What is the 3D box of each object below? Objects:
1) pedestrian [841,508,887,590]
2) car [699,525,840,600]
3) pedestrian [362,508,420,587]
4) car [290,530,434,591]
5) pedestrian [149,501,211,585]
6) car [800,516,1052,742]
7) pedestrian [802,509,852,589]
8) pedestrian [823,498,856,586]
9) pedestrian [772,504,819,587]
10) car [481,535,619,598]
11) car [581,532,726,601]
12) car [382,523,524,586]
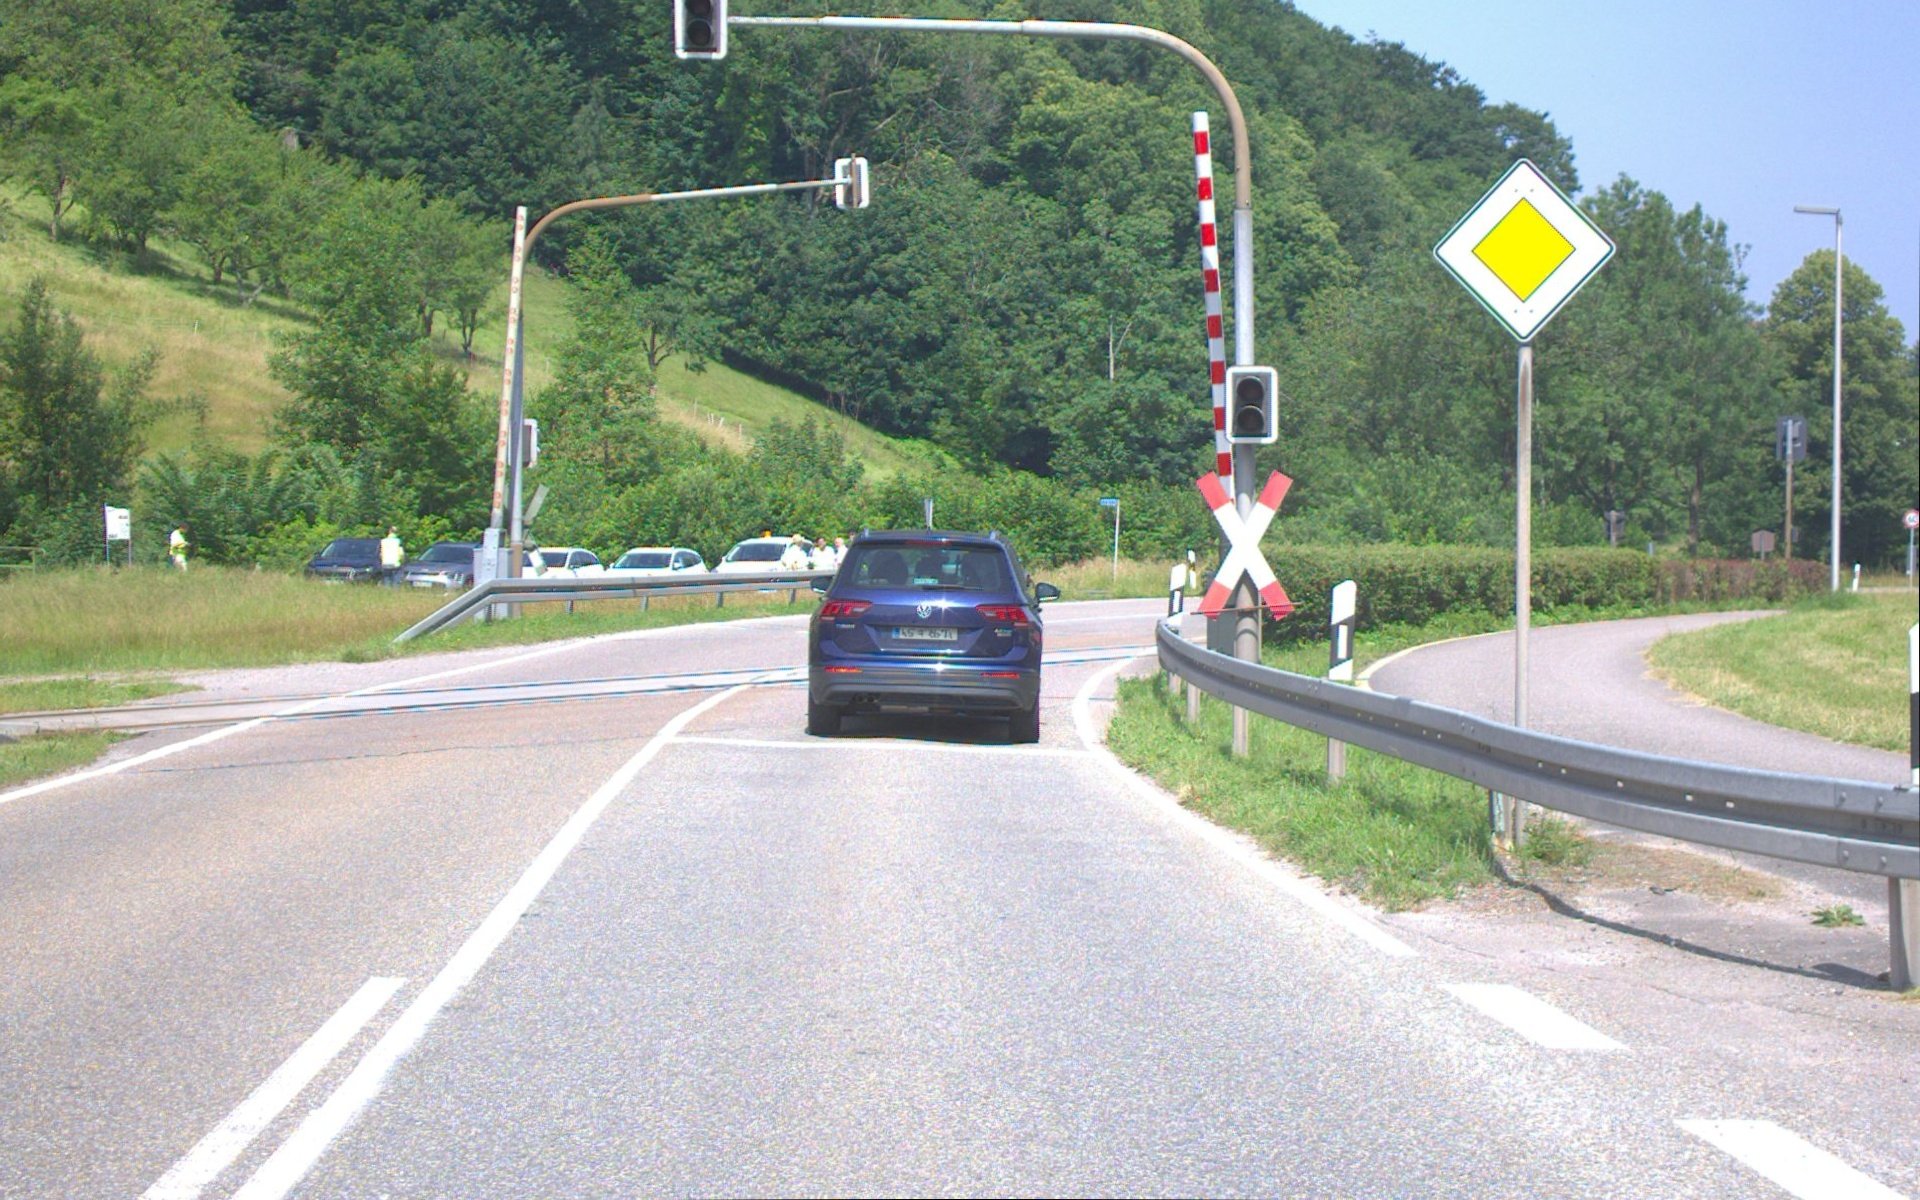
[{"bbox_3d":[-2.171,-1.150,77.526,0.769,1.852,0.649,-1,1,-42],"label":"pedestrian"},{"bbox_3d":[-4.656,-0.942,84.734,1.872,1.776,4.768,1,1,18],"label":"car"},{"bbox_3d":[-13.176,-1.214,79.643,0.954,1.788,0.999,-1,1,14],"label":"pedestrian"},{"bbox_3d":[-15.029,-1.000,86.648,1.994,1.495,4.519,-1,1,13],"label":"car"},{"bbox_3d":[-18.606,-1.362,82.050,1.128,1.962,0.860,-1,0,30],"label":"pedestrian"},{"bbox_3d":[-0.251,0.183,27.900,1.852,1.643,4.140,2,1,0],"label":"car"},{"bbox_3d":[-3.016,-1.151,77.894,0.770,1.790,0.792,-1,1,42],"label":"pedestrian"},{"bbox_3d":[-2.700,-1.303,76.995,0.660,1.948,0.533,-1,1,5],"label":"pedestrian"},{"bbox_3d":[-3.670,-1.216,76.724,0.789,1.836,0.697,0,1,26],"label":"pedestrian"},{"bbox_3d":[-10.154,-0.841,85.487,1.994,1.495,4.519,-1,1,13],"label":"car"},{"bbox_3d":[-7.525,-0.844,84.938,1.995,1.636,4.898,0,1,15],"label":"car"},{"bbox_3d":[-12.632,-1.142,85.899,1.995,1.495,4.519,2,1,12],"label":"car"}]
